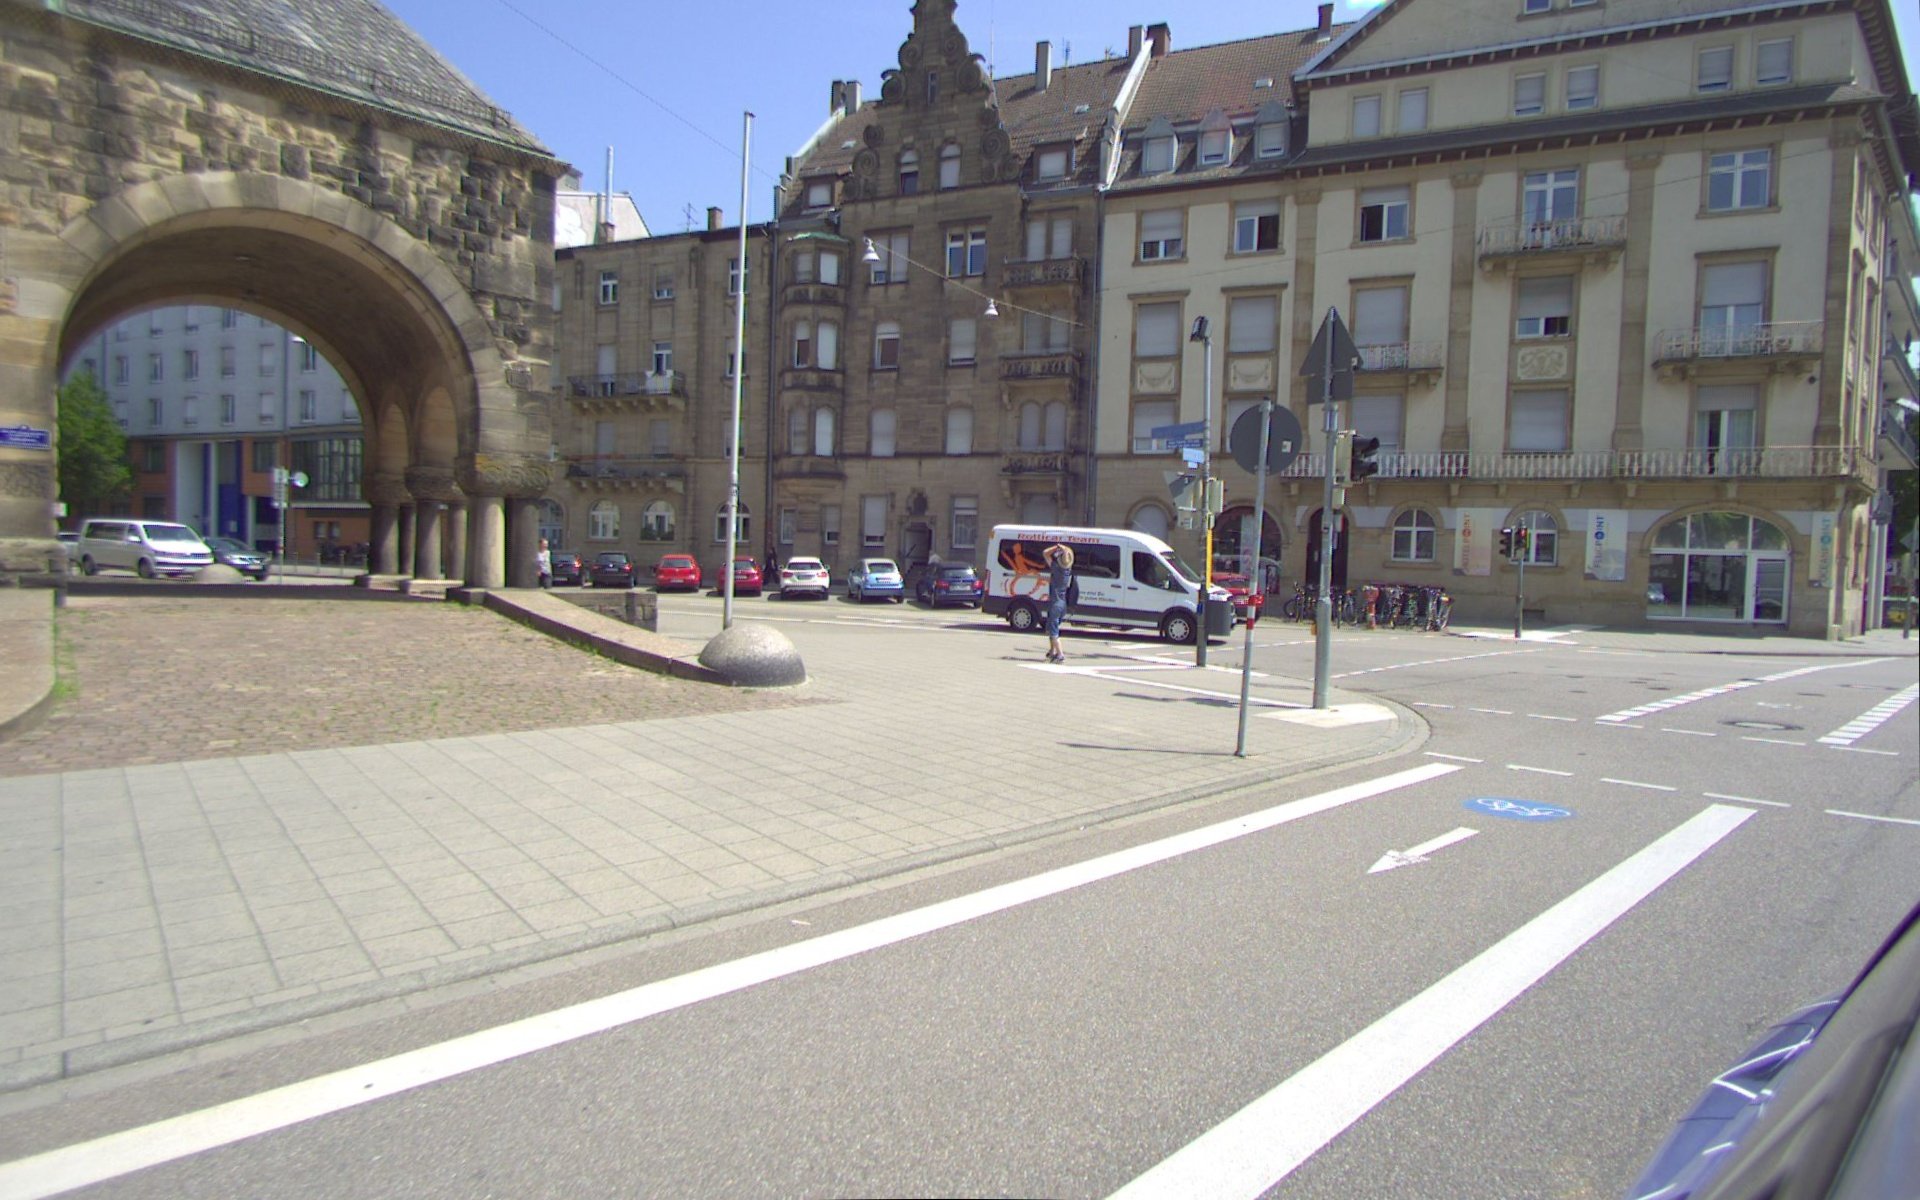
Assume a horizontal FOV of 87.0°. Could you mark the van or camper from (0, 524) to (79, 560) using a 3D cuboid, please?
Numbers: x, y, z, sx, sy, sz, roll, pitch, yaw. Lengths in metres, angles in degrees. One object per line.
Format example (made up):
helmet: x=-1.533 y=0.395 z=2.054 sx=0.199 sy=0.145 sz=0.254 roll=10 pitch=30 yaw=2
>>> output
van or camper: x=-50.222 y=-3.095 z=54.535 sx=1.961 sy=1.860 sz=4.331 roll=1 pitch=2 yaw=-3

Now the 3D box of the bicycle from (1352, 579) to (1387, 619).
bicycle: x=12.730 y=-0.046 z=31.467 sx=0.562 sy=1.165 sz=1.782 roll=2 pitch=3 yaw=37

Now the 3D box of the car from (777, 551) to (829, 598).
car: x=-5.936 y=-0.999 z=38.057 sx=1.583 sy=1.593 sz=3.235 roll=-1 pitch=4 yaw=-15

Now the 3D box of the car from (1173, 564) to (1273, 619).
car: x=8.167 y=-0.303 z=31.692 sx=1.583 sy=1.496 sz=3.236 roll=-2 pitch=4 yaw=-16

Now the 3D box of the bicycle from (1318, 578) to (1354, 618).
bicycle: x=11.666 y=-0.082 z=31.362 sx=0.562 sy=1.165 sz=1.782 roll=2 pitch=3 yaw=37

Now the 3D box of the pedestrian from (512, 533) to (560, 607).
pedestrian: x=-9.339 y=-0.662 z=22.290 sx=0.789 sy=1.578 sz=0.710 roll=2 pitch=2 yaw=41

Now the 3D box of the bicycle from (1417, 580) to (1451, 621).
bicycle: x=14.506 y=-0.005 z=30.957 sx=0.562 sy=1.165 sz=1.782 roll=2 pitch=3 yaw=37

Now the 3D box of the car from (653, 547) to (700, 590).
car: x=-11.324 y=-1.305 z=40.593 sx=1.583 sy=1.593 sz=3.235 roll=-1 pitch=4 yaw=-12

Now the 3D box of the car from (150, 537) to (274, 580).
car: x=-27.399 y=-1.527 z=37.074 sx=3.957 sy=1.475 sz=1.984 roll=2 pitch=2 yaw=24

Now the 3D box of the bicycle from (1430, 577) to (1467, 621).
bicycle: x=14.160 y=-0.049 z=29.315 sx=0.562 sy=1.165 sz=2.033 roll=2 pitch=3 yaw=37

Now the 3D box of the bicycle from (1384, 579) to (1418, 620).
bicycle: x=13.654 y=-0.026 z=31.306 sx=0.562 sy=1.165 sz=1.782 roll=2 pitch=3 yaw=37

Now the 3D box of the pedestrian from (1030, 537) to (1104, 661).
pedestrian: x=1.643 y=-0.034 z=15.549 sx=0.817 sy=1.845 sz=0.745 roll=0 pitch=2 yaw=-35

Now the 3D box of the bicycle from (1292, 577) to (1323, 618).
bicycle: x=10.695 y=-0.089 z=31.158 sx=0.560 sy=1.165 sz=1.787 roll=2 pitch=3 yaw=30

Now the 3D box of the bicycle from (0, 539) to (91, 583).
bicycle: x=-22.880 y=-0.957 z=24.746 sx=2.455 sy=1.024 sz=0.705 roll=0 pitch=3 yaw=-41

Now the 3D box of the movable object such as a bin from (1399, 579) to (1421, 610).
movable object such as a bin: x=14.989 y=-0.203 z=33.703 sx=0.586 sy=1.007 sz=0.576 roll=2 pitch=2 yaw=32

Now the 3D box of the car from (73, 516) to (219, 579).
car: x=-28.024 y=-1.807 z=34.829 sx=4.918 sy=2.029 sz=2.027 roll=3 pitch=2 yaw=26

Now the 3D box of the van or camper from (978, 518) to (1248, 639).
van or camper: x=3.517 y=-0.573 z=23.516 sx=5.840 sy=2.491 sz=2.056 roll=3 pitch=2 yaw=25

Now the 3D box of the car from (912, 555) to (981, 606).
car: x=-0.517 y=-0.733 z=35.600 sx=1.583 sy=1.593 sz=3.236 roll=-2 pitch=4 yaw=-16

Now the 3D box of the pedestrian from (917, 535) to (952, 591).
pedestrian: x=-1.002 y=-1.430 z=39.456 sx=0.851 sy=2.139 sz=1.101 roll=0 pitch=2 yaw=-35

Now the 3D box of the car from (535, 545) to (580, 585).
car: x=-17.028 y=-1.512 z=42.768 sx=1.466 sy=1.593 sz=3.233 roll=-2 pitch=4 yaw=-27

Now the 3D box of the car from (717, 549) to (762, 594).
car: x=-8.554 y=-1.150 z=39.335 sx=1.583 sy=1.593 sz=3.235 roll=-1 pitch=4 yaw=-12

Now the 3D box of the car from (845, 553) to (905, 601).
car: x=-3.186 y=-0.885 z=37.306 sx=1.583 sy=1.593 sz=3.236 roll=-2 pitch=4 yaw=-16

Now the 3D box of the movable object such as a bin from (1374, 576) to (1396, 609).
movable object such as a bin: x=14.285 y=-0.259 z=34.014 sx=0.586 sy=1.077 sz=0.663 roll=2 pitch=2 yaw=31

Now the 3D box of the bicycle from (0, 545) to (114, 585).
bicycle: x=-24.359 y=-0.926 z=27.207 sx=2.455 sy=1.024 sz=0.705 roll=0 pitch=3 yaw=-41

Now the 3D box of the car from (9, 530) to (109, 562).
car: x=-47.335 y=-2.803 z=53.257 sx=1.716 sy=1.568 sz=4.001 roll=1 pitch=2 yaw=0

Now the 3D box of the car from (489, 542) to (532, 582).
car: x=-19.404 y=-1.670 z=43.781 sx=1.583 sy=1.593 sz=3.235 roll=-2 pitch=4 yaw=-22

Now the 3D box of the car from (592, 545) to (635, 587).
car: x=-14.470 y=-1.459 z=42.208 sx=1.583 sy=1.593 sz=3.235 roll=-2 pitch=4 yaw=-20

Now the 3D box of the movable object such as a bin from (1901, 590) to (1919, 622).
movable object such as a bin: x=43.516 y=0.274 z=45.877 sx=0.992 sy=1.454 sz=1.212 roll=-1 pitch=2 yaw=-44
